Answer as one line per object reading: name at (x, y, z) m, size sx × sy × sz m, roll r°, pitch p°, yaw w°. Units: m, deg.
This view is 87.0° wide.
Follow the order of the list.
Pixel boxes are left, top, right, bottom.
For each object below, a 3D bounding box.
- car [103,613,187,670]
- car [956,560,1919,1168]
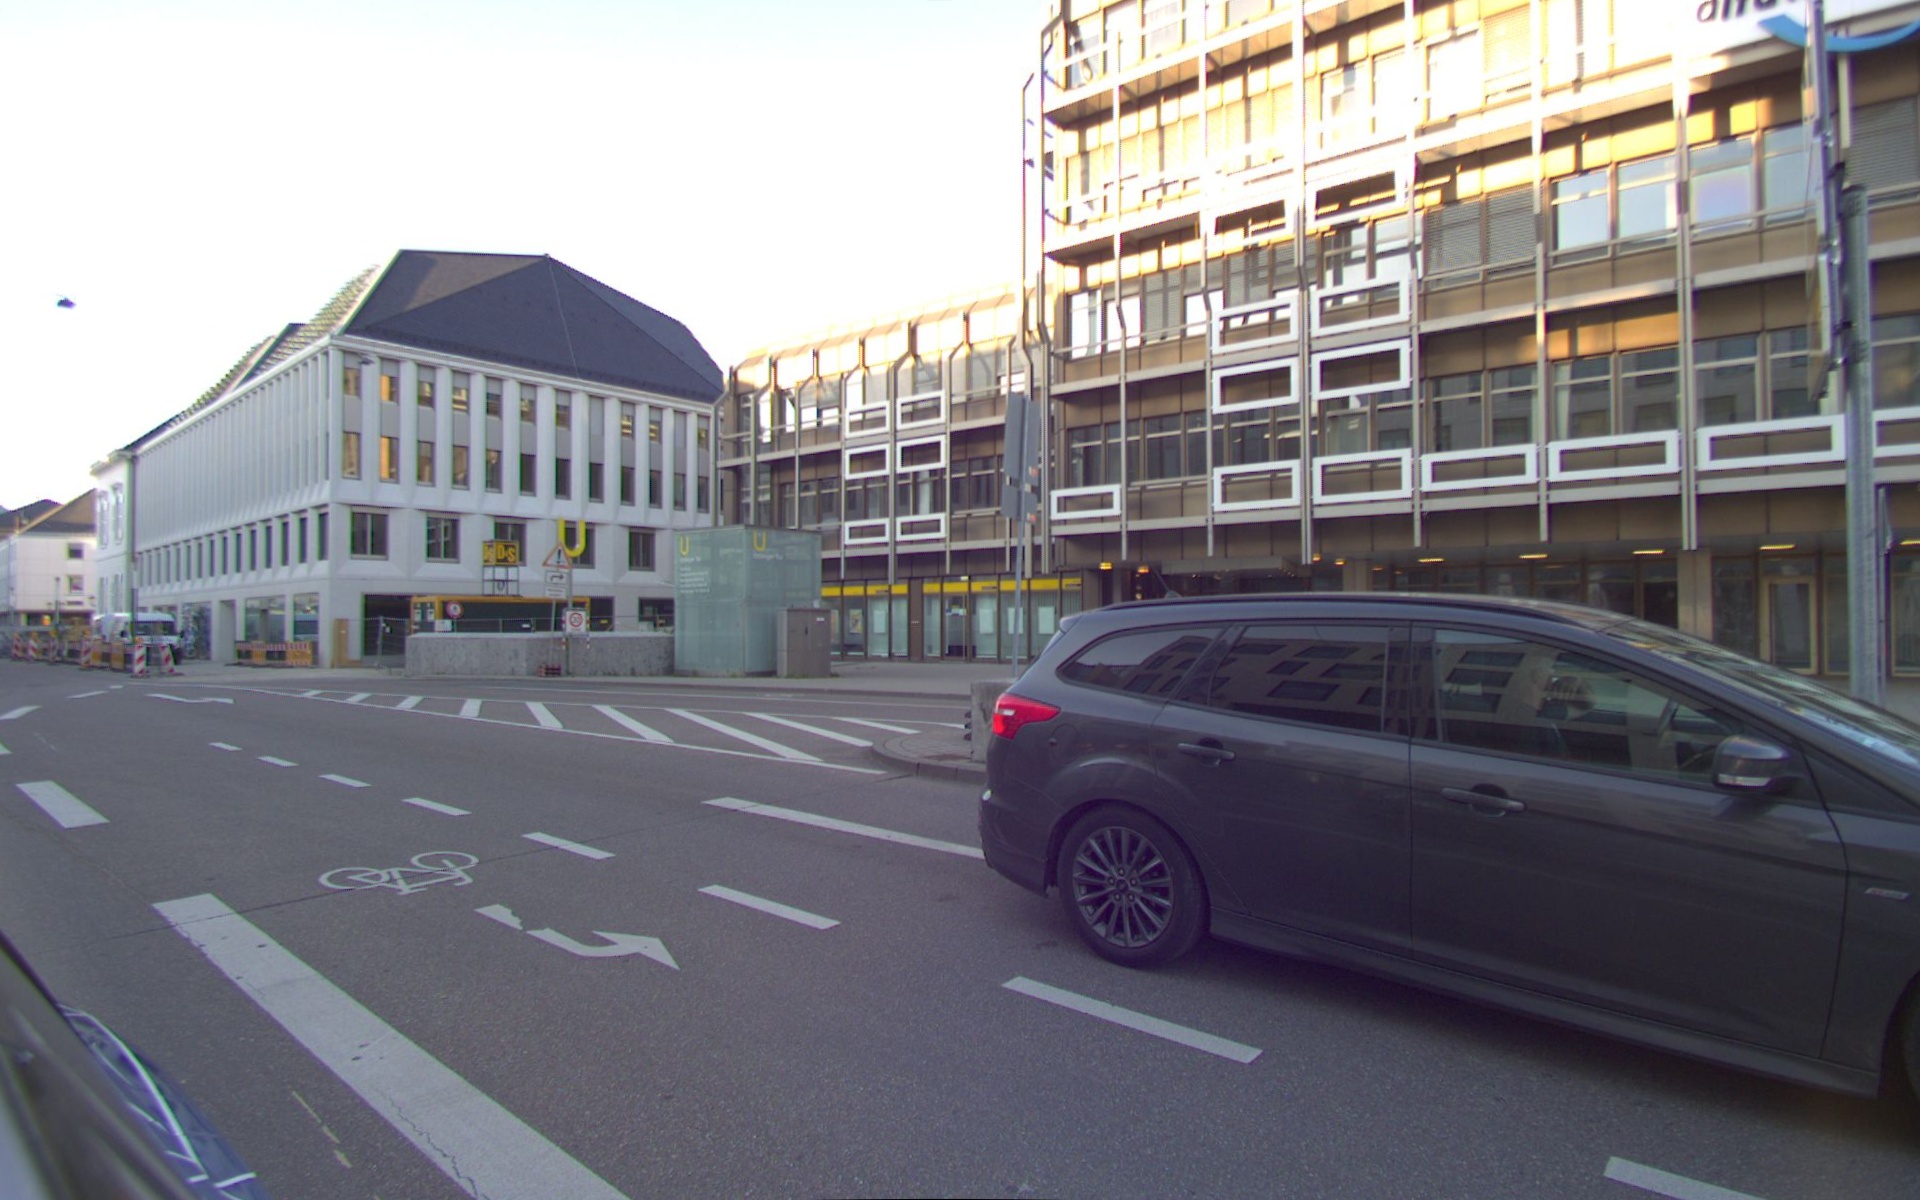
car at (-38.835, 1.958, 48.163) m, size 6.047 × 2.575 × 2.114 m, roll -2°, pitch -3°, yaw 41°
car at (2.220, 0.653, 3.684) m, size 4.377 × 1.473 × 1.740 m, roll -2°, pitch -1°, yaw 40°
